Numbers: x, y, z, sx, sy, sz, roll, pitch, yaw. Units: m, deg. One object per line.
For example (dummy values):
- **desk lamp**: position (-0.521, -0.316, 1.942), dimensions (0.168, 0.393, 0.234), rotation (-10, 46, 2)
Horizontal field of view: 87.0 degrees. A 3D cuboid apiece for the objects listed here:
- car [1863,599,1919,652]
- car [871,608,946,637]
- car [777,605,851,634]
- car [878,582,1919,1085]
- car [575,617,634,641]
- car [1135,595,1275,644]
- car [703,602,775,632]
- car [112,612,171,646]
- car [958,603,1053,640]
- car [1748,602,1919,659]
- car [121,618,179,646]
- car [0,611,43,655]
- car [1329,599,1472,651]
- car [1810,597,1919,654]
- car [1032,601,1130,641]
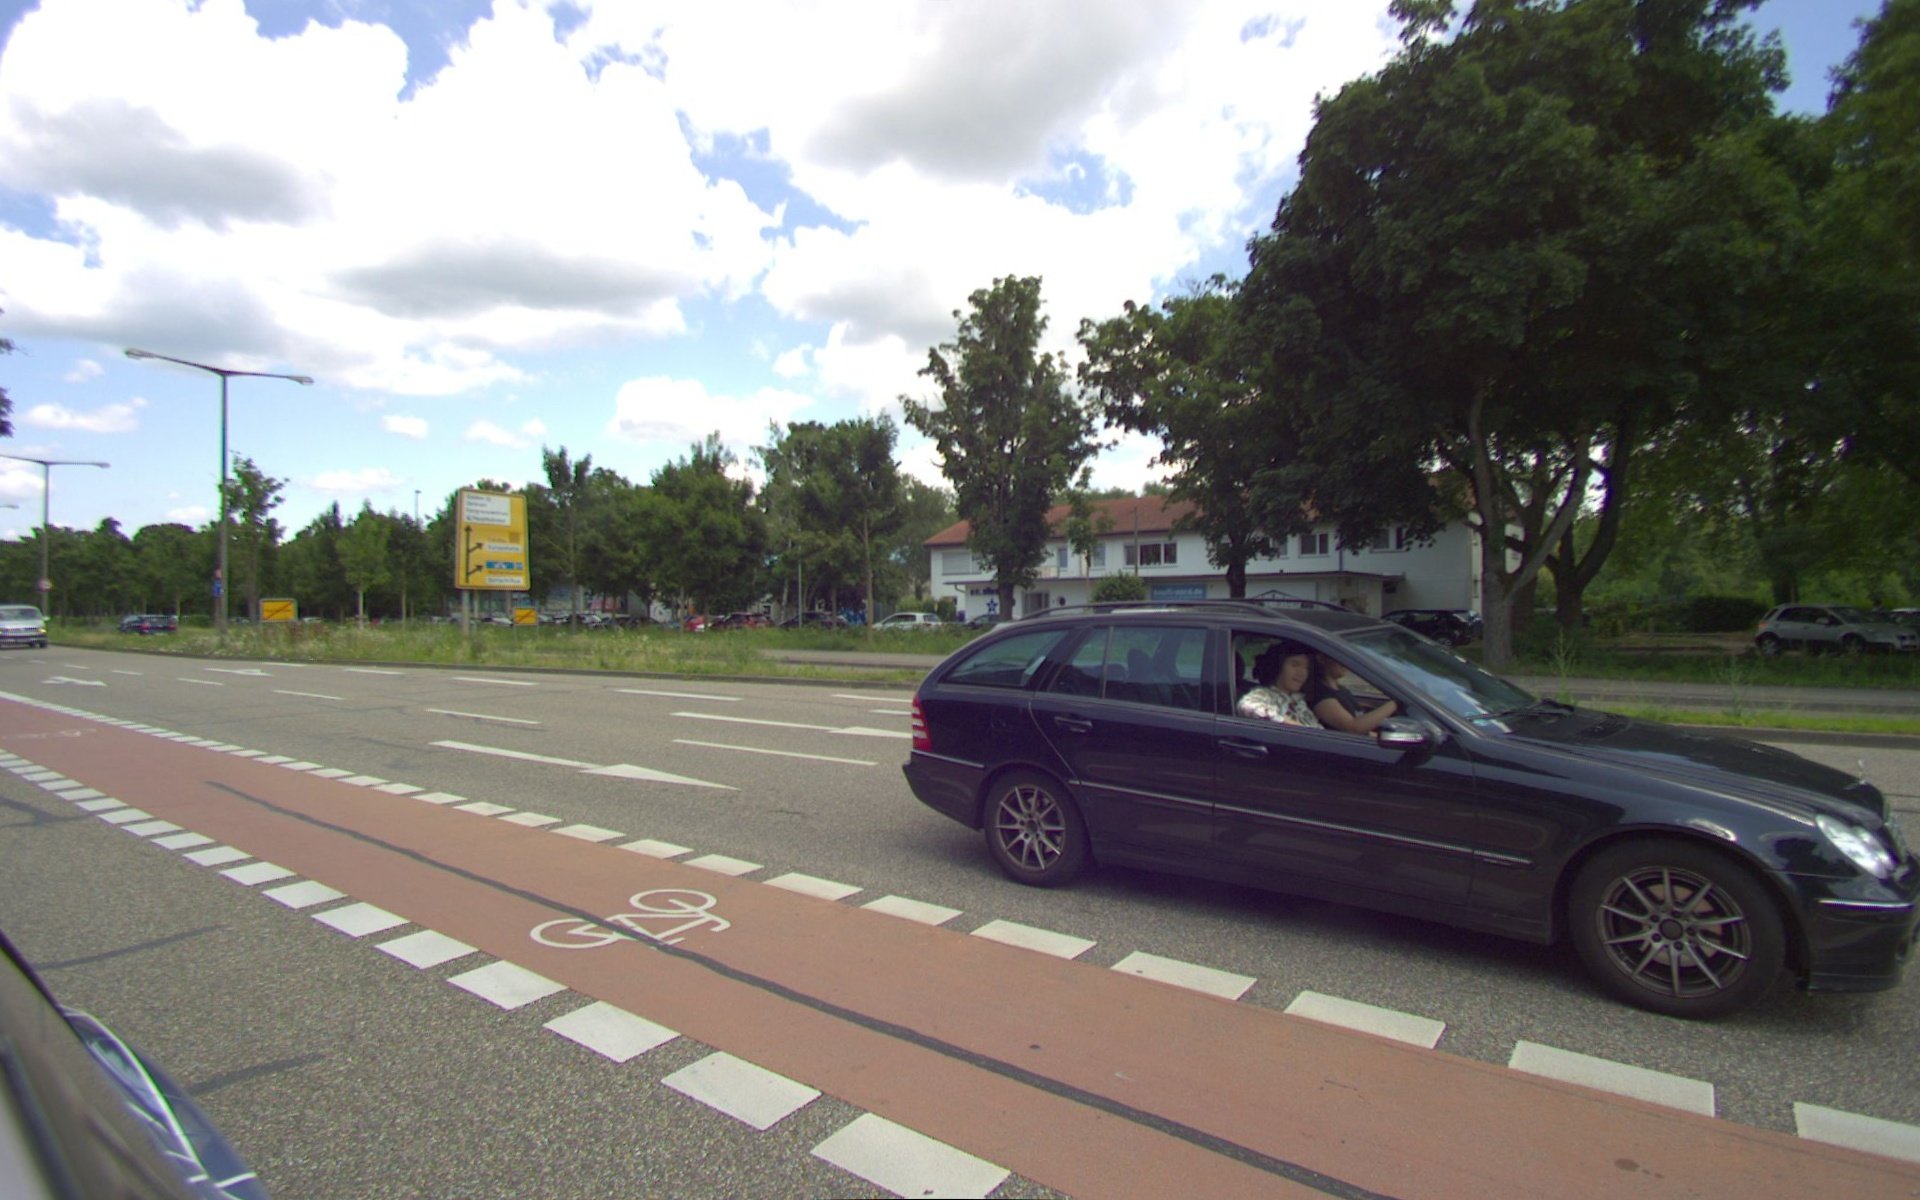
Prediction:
- **car**: position (30.040, 0.751, 30.292), dimensions (1.966, 1.600, 4.033), rotation (0, -3, -14)
- **car**: position (-2.506, 1.102, 48.591), dimensions (3.475, 1.342, 1.604), rotation (-1, -2, 41)
- **car**: position (-7.649, 1.028, 52.885), dimensions (3.864, 1.422, 1.707), rotation (-1, -2, 41)
- **car**: position (1.800, 0.696, 4.925), dimensions (4.429, 1.477, 1.737), rotation (-1, 0, 39)
- **car**: position (-23.826, 1.927, 67.767), dimensions (4.021, 1.600, 1.973), rotation (-1, -2, 41)
- **car**: position (9.287, 0.754, 38.608), dimensions (4.927, 1.724, 1.863), rotation (-1, -2, 41)
- **car**: position (-12.466, 0.962, 57.055), dimensions (4.021, 1.600, 1.973), rotation (-1, -2, 41)
- **car**: position (-50.722, 1.770, 62.699), dimensions (3.994, 2.029, 1.974), rotation (-1, -2, 38)
- **car**: position (1.987, 0.954, 45.081), dimensions (4.021, 1.600, 1.740), rotation (-1, -2, 41)
- **car**: position (25.268, 0.845, 28.861), dimensions (1.966, 1.495, 4.033), rotation (0, -1, -14)
- **car**: position (-43.285, 1.711, 54.038), dimensions (3.689, 1.457, 1.665), rotation (-1, -2, 39)
- **car**: position (-43.916, 1.484, 46.547), dimensions (5.226, 1.933, 1.795), rotation (-1, -2, 39)
- **car**: position (15.053, 0.835, 34.633), dimensions (4.347, 1.670, 1.794), rotation (-1, 0, 30)
- **car**: position (27.756, 0.734, 29.579), dimensions (1.966, 1.600, 4.033), rotation (0, -1, -14)
- **car**: position (5.071, 0.883, 42.529), dimensions (3.664, 1.600, 1.896), rotation (-1, -2, 41)
